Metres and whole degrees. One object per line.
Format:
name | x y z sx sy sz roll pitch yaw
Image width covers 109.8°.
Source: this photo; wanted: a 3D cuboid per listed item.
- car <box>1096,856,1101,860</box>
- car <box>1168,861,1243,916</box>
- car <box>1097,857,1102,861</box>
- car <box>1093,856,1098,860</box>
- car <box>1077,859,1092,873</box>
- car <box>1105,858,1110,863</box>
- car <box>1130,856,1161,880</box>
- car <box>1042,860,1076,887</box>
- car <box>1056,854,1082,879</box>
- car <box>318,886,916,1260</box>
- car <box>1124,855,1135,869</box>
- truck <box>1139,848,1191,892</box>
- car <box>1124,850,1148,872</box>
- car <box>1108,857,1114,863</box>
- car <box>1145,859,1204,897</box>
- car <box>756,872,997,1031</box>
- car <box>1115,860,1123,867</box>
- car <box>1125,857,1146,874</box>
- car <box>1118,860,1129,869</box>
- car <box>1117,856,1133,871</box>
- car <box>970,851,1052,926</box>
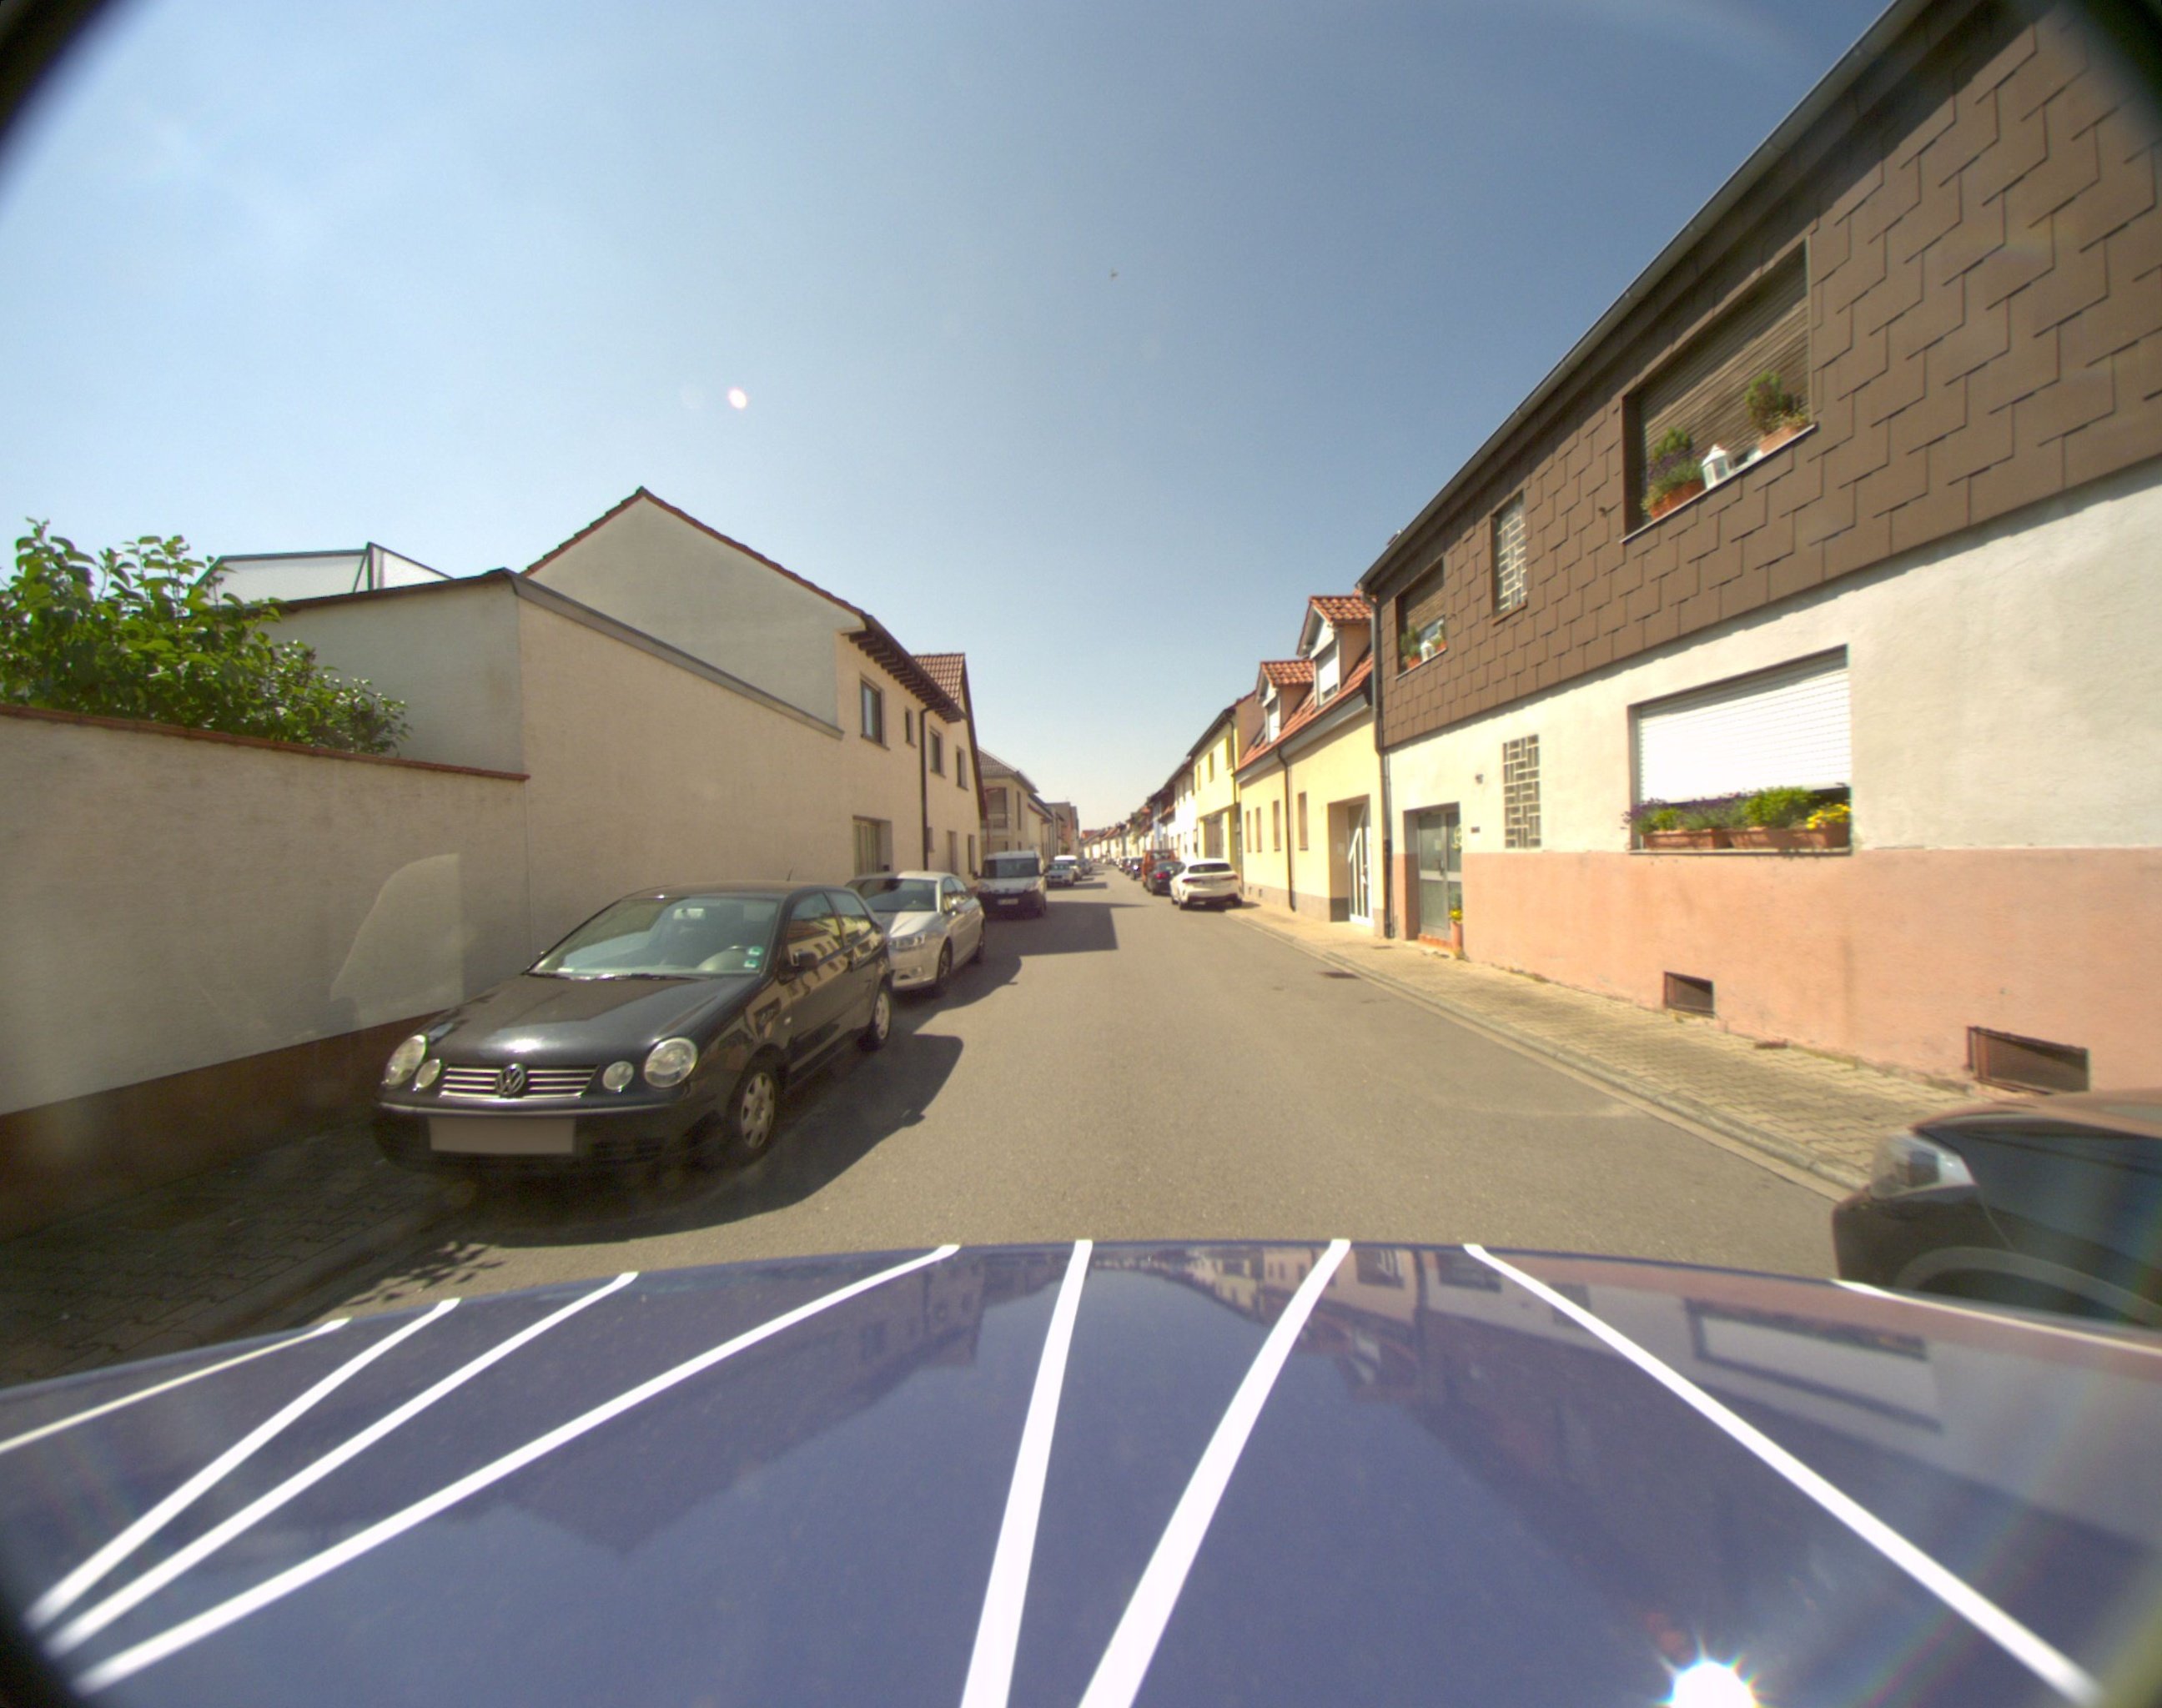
car | 5.251 1.298 228.623 1.295 1.177 2.964 -1 0 2
car | 3.727 0.976 23.416 1.786 1.445 4.216 -1 0 3
car | 5.287 1.354 220.583 1.295 1.177 2.964 -1 0 2
car | 4.570 1.313 240.345 1.295 1.177 2.964 -1 0 2
car | 0.384 1.275 80.754 1.521 1.417 3.864 -1 0 1
car | 6.558 1.535 189.443 1.295 1.177 2.964 -1 0 2
car | 4.402 0.952 52.500 1.849 1.604 4.000 -1 0 1
car | -1.240 1.103 44.240 1.638 1.360 3.928 -3 0 2
car | -0.807 0.856 53.439 1.684 1.719 3.787 -1 0 1
car | -2.493 1.054 5.417 1.653 1.428 4.134 -1 0 1
car | 6.442 1.020 100.965 1.295 1.820 2.964 -1 0 2
truck | 4.042 0.724 37.451 2.187 2.002 5.080 -1 0 2
car | 5.622 0.691 78.068 1.999 2.002 3.998 -1 1 -2
car | 6.765 1.382 172.812 1.295 1.177 2.964 -1 0 2
car | 3.831 0.959 31.869 1.926 1.386 4.631 1 0 1
car | -2.390 1.067 10.320 1.795 1.473 4.934 0 0 2
car | 6.743 1.638 134.382 1.295 1.177 2.964 -1 0 2
car | 5.016 1.032 69.935 1.724 1.493 4.215 -1 0 2
car | 5.237 1.275 93.586 1.295 1.070 2.765 -1 0 2
car | 5.032 1.086 86.637 1.677 1.565 4.109 -1 0 2
car | -1.874 0.870 21.732 1.814 1.814 4.850 -3 0 0
